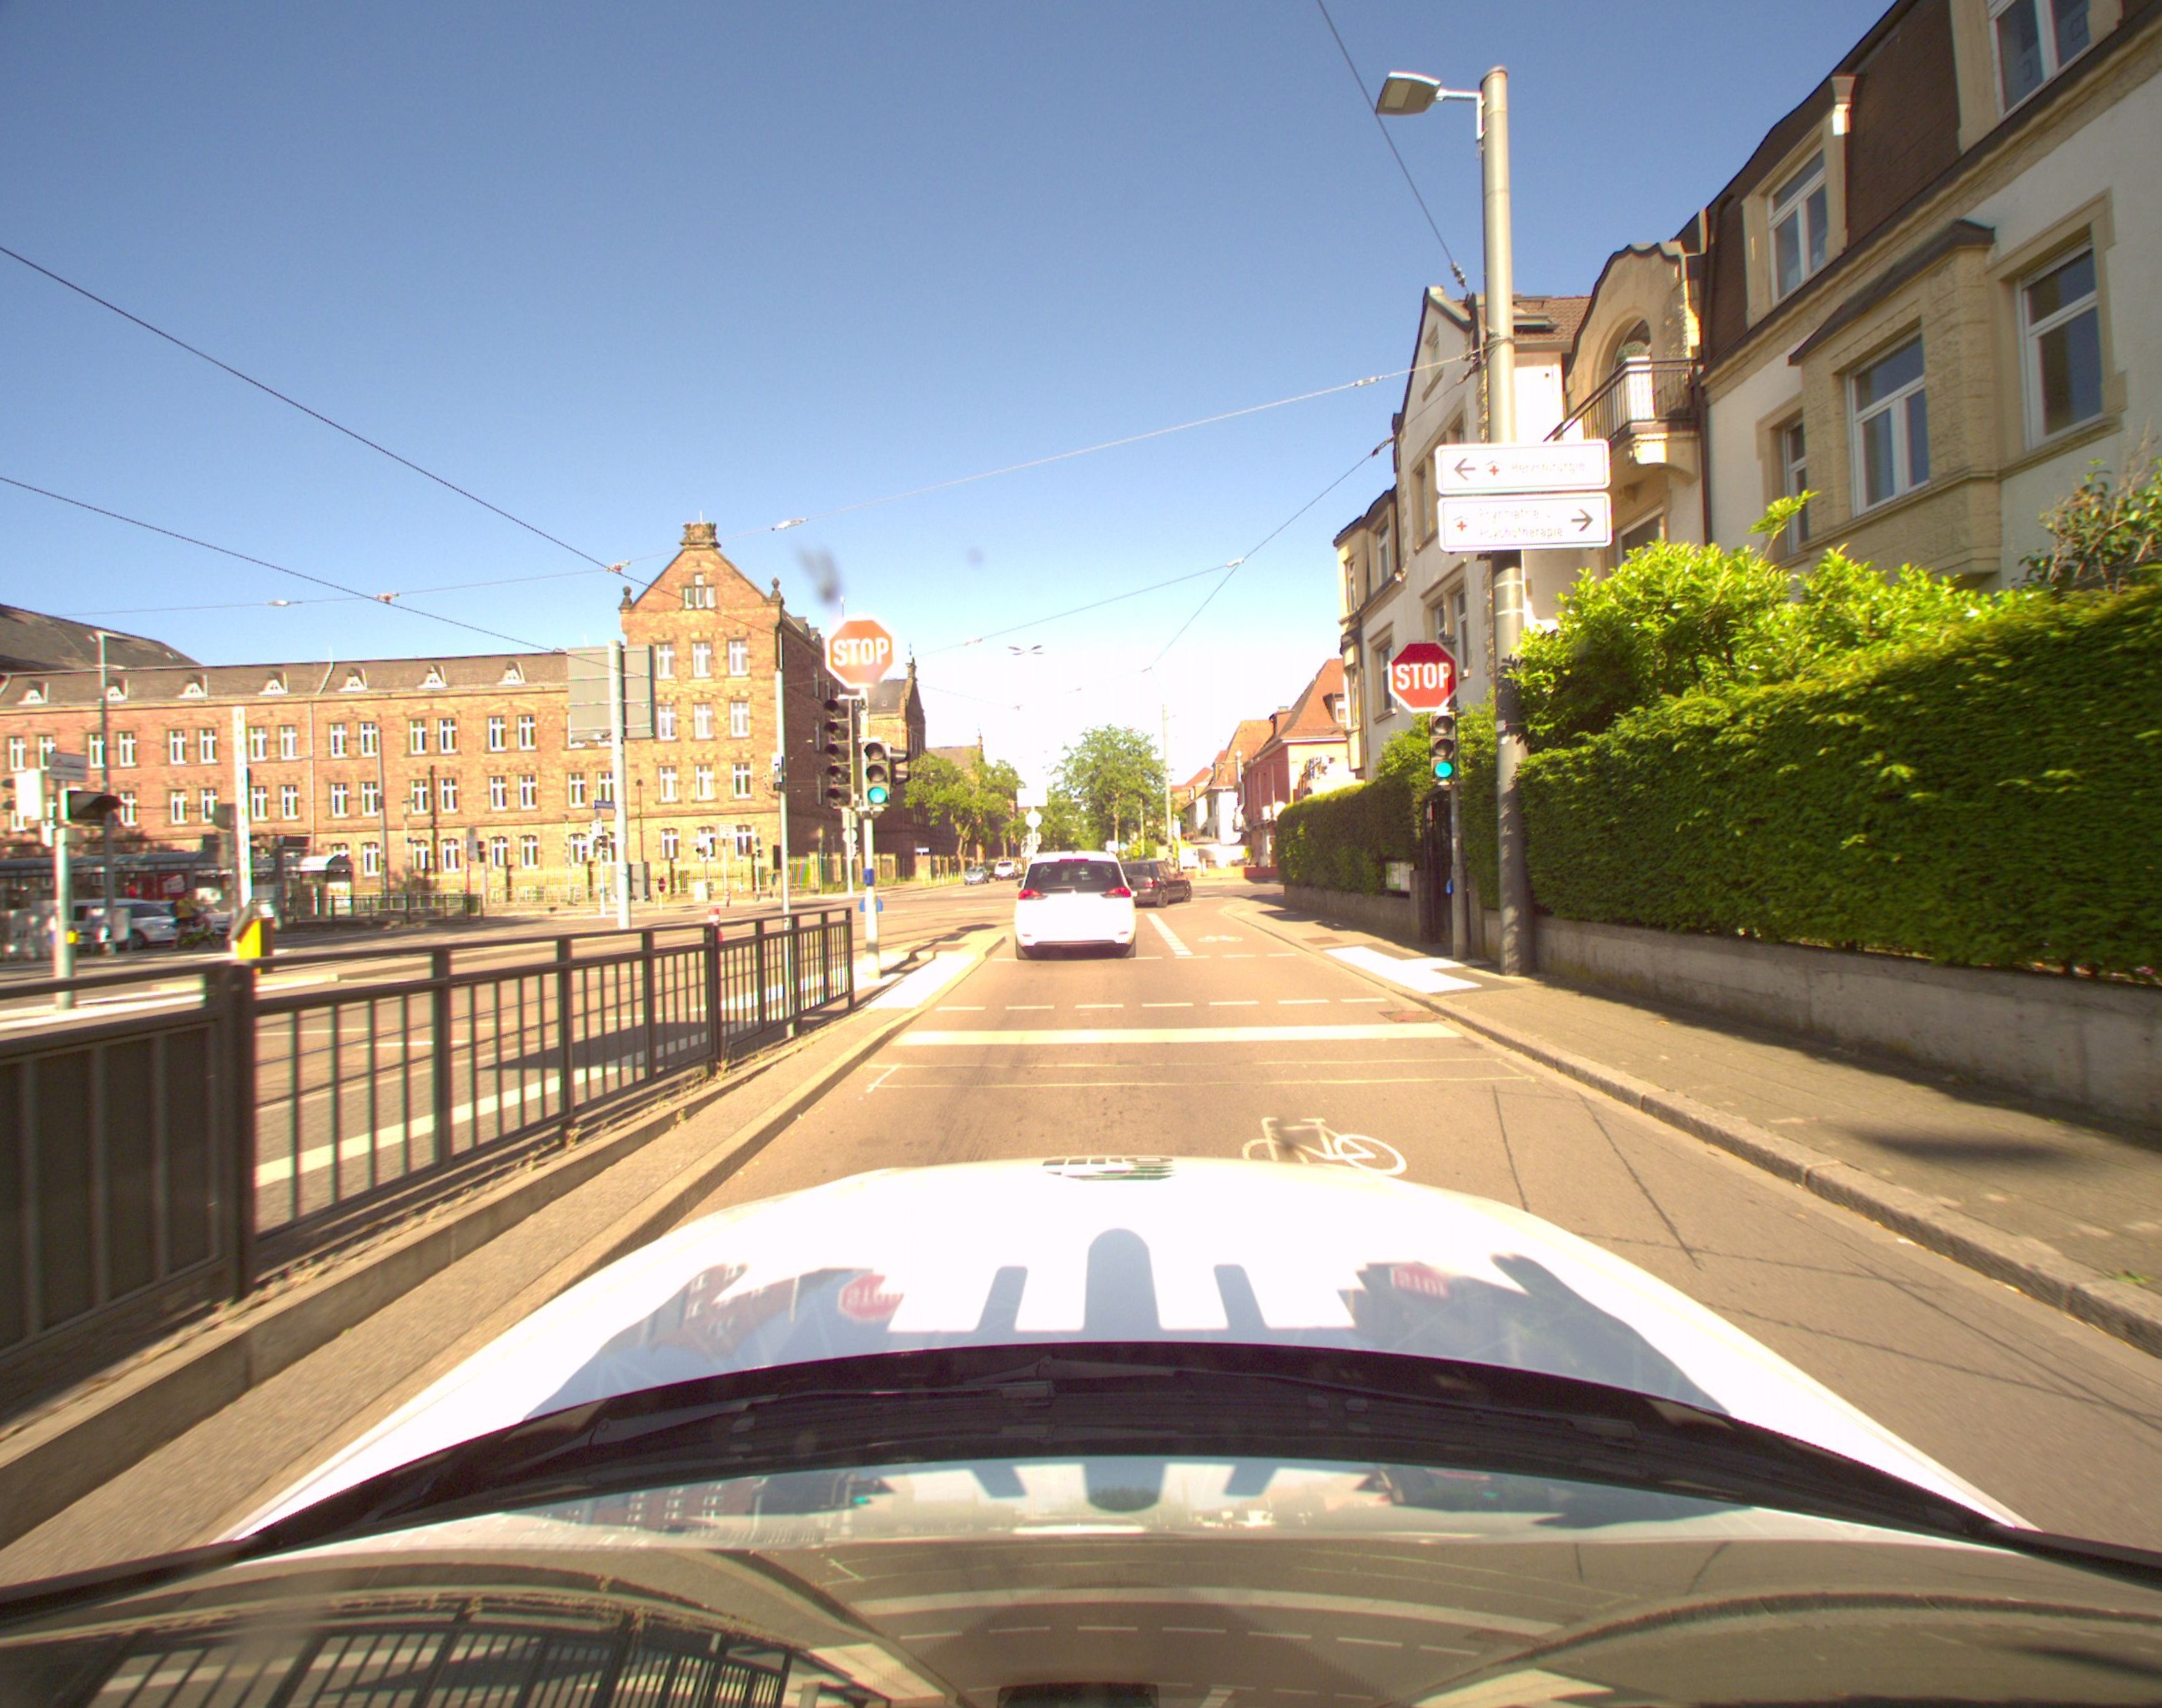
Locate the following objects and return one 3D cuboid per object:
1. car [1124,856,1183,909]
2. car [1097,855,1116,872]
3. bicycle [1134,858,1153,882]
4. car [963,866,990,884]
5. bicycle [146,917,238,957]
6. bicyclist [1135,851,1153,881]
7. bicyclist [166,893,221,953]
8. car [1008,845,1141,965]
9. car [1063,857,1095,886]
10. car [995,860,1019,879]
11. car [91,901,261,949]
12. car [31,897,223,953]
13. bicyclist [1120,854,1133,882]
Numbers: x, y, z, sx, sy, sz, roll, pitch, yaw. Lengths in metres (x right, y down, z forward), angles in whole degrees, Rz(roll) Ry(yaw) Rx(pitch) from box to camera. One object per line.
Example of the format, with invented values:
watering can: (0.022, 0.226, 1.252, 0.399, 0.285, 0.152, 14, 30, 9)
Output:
car: (2.163, 0.814, 24.899, 1.579, 1.420, 3.904, -3, 0, 4)
car: (2.599, 0.948, 82.085, 1.768, 1.632, 3.885, -2, -1, 4)
bicycle: (3.233, 0.824, 42.006, 0.826, 1.154, 2.095, -2, -1, 1)
car: (-8.663, 1.740, 67.698, 1.574, 1.441, 3.588, -2, -1, 4)
bicycle: (-25.112, 2.345, 23.033, 1.728, 1.013, 0.801, -2, -1, 1)
bicyclist: (3.227, 0.600, 41.922, 0.818, 1.501, 0.934, -2, -1, 1)
bicyclist: (-25.102, 1.934, 23.042, 0.632, 1.636, 0.801, -2, -1, 2)
car: (-0.008, 0.743, 13.492, 1.828, 1.642, 3.920, -2, -1, 2)
car: (-0.066, 1.045, 49.669, 1.769, 1.632, 3.882, -2, -1, 2)
car: (-7.333, 1.577, 81.034, 1.886, 1.783, 3.881, -2, -1, 1)
car: (-32.137, 2.499, 28.990, 4.047, 1.447, 1.879, -2, -1, 3)
car: (-30.393, 2.245, 26.020, 4.047, 1.522, 1.879, -2, -1, 3)
bicyclist: (2.725, 0.825, 48.675, 0.682, 1.634, 1.016, -2, -1, 4)
